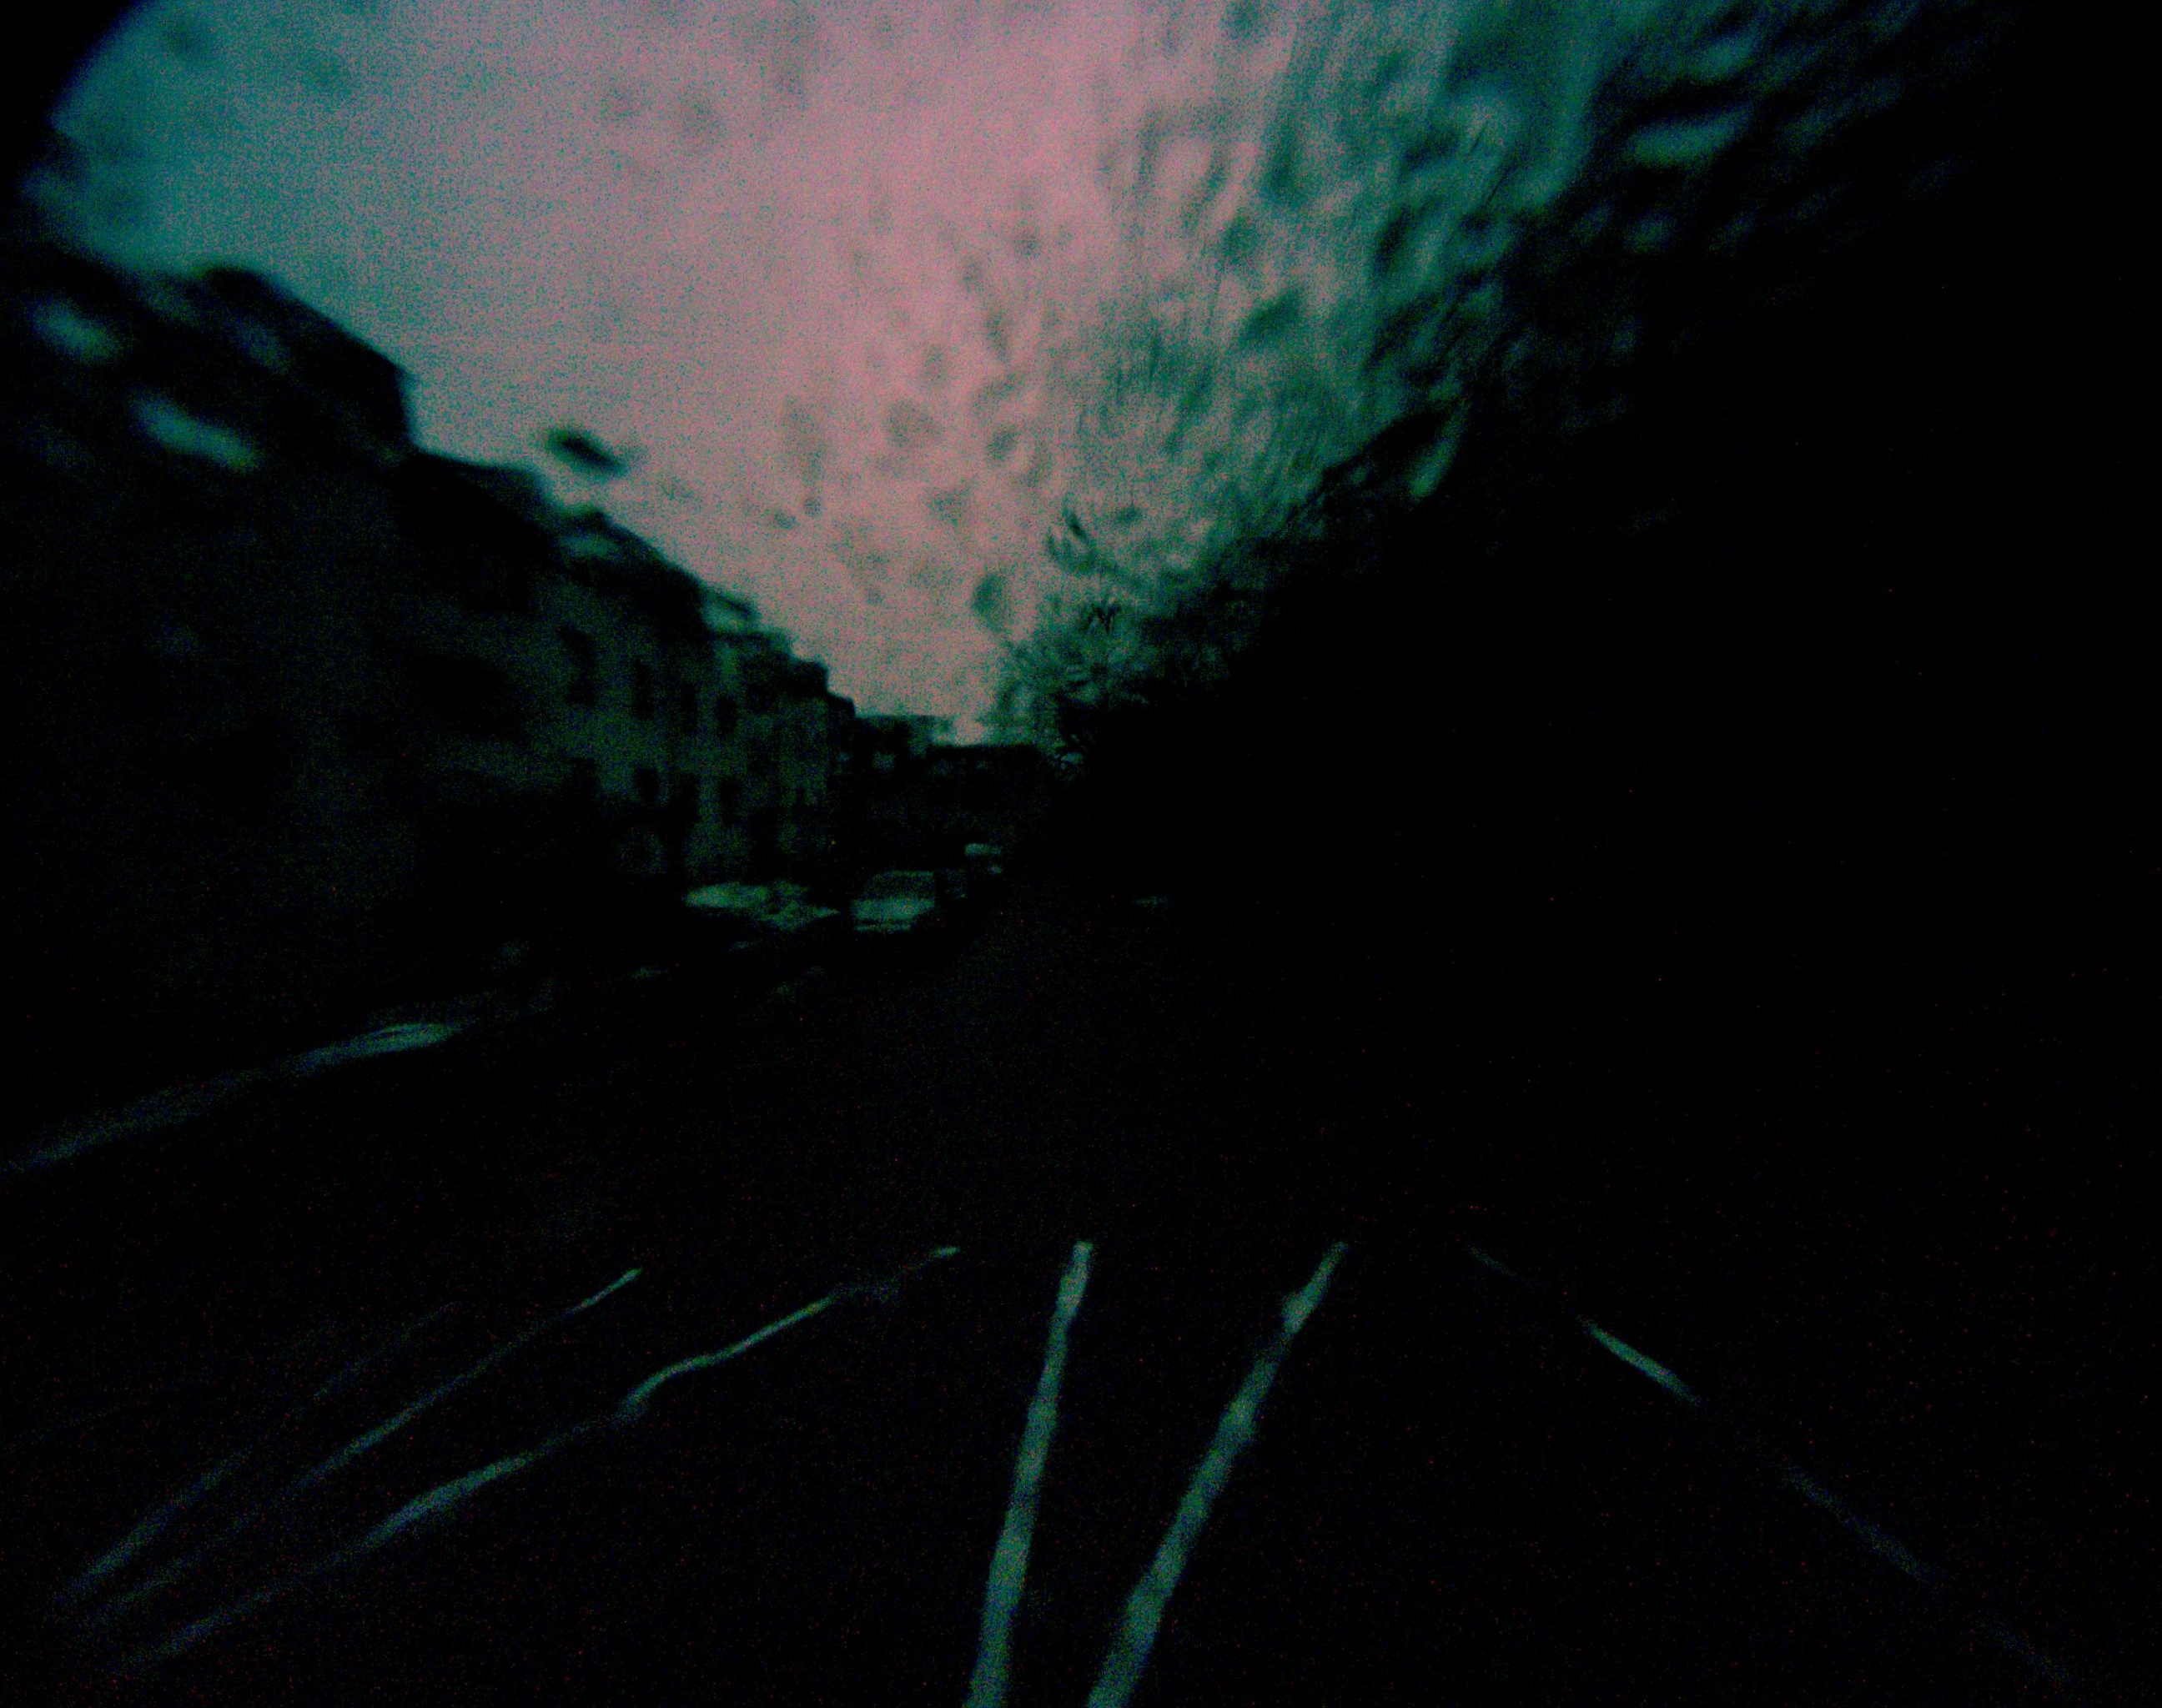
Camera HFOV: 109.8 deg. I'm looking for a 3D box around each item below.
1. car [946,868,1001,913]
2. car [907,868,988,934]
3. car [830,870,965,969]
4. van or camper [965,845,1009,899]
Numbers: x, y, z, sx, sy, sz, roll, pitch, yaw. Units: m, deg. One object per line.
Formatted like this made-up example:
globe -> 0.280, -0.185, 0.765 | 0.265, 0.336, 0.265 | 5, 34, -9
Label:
car -> -3.736, 1.217, 26.953 | 1.660, 1.382, 4.530 | 0, 0, -4
car -> -3.472, 1.170, 20.449 | 1.660, 1.421, 4.562 | -2, 0, -4
car -> -3.276, 1.091, 14.411 | 1.743, 1.421, 4.455 | -2, 0, -4
van or camper -> -4.747, 0.875, 39.033 | 2.020, 2.493, 6.790 | 0, 0, -5
